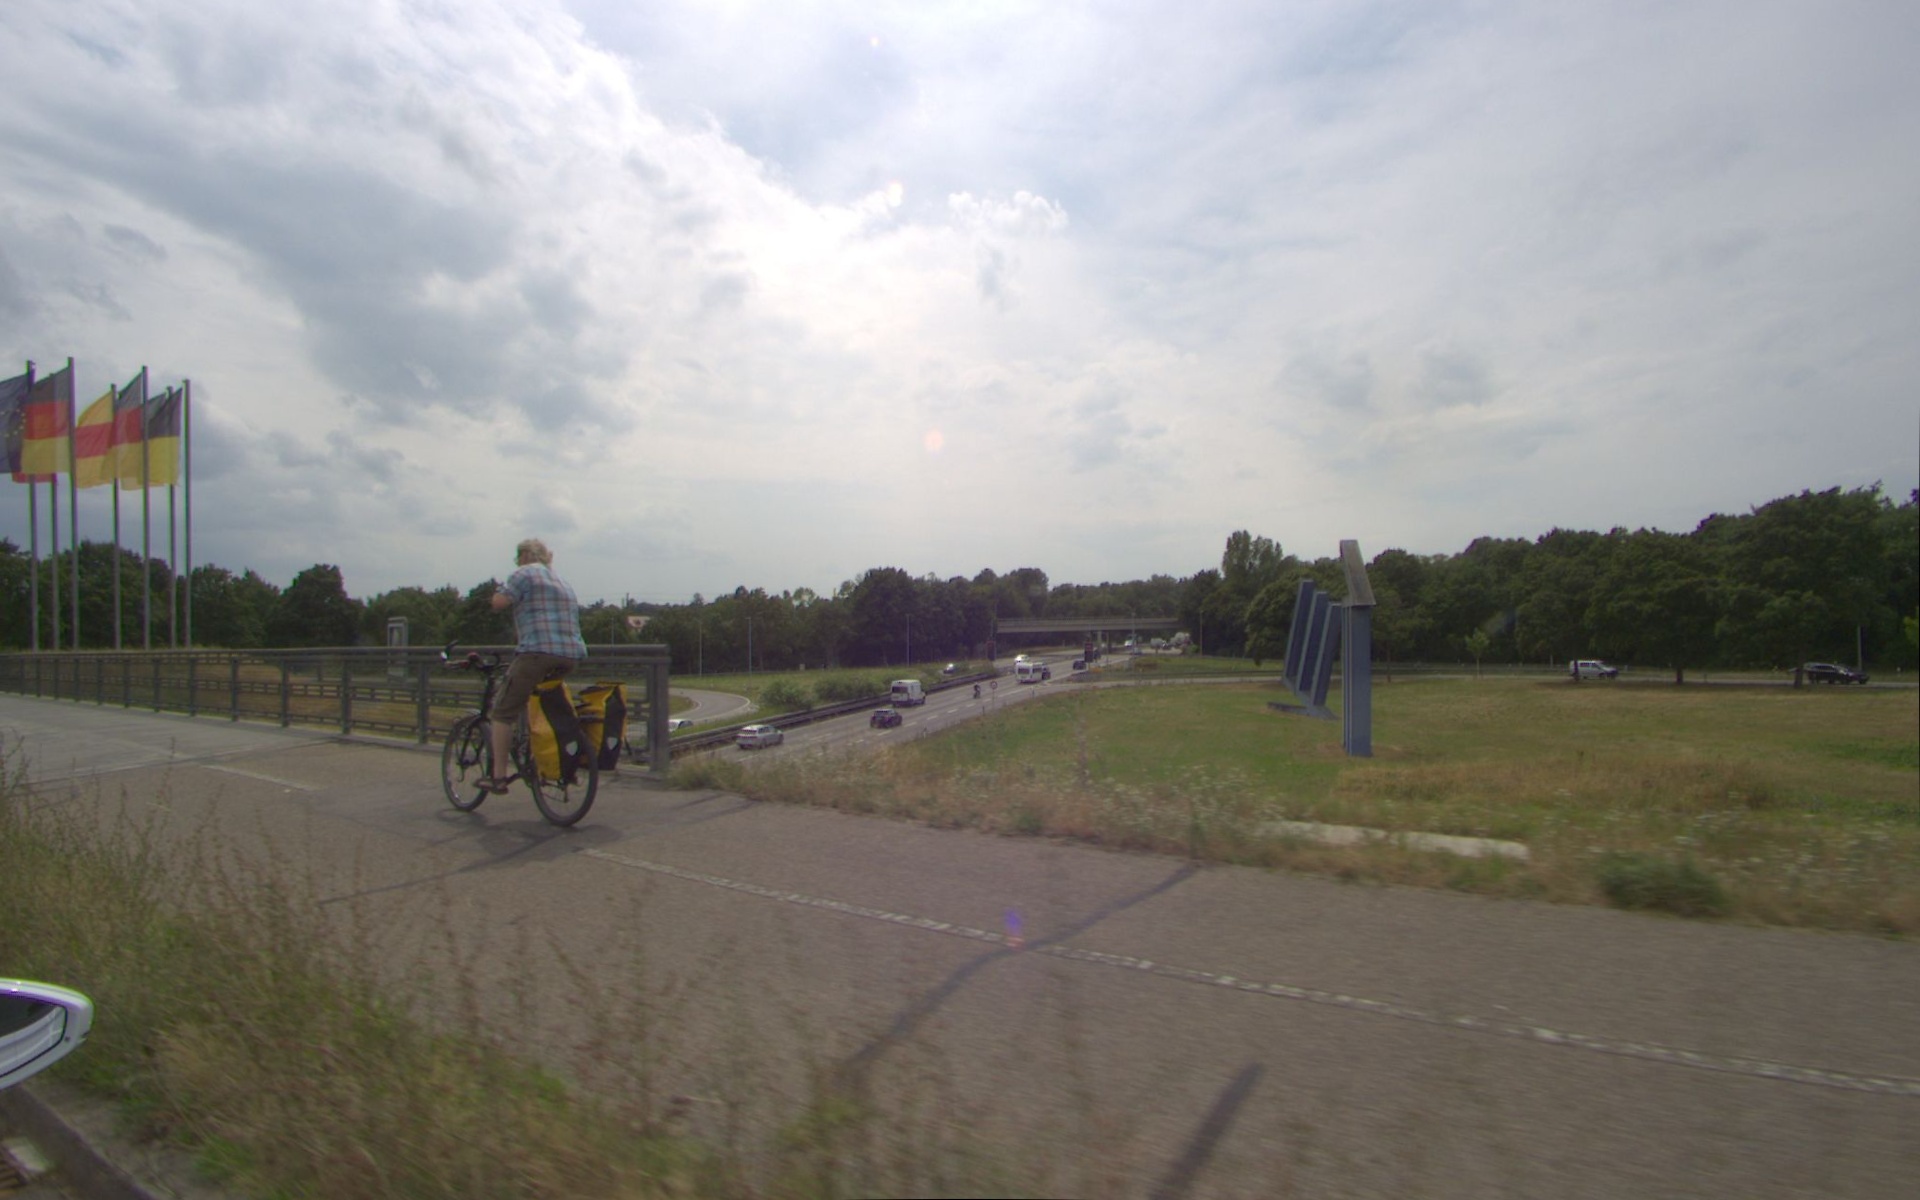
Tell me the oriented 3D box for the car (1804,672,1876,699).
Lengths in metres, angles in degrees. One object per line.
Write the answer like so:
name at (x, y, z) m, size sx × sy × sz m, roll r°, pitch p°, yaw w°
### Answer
car at (74.705, 7.260, 85.060) m, size 1.961 × 2.039 × 4.473 m, roll 0°, pitch -2°, yaw -4°

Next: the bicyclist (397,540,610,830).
bicyclist at (-3.123, 0.526, 6.883) m, size 0.943 × 1.826 × 0.868 m, roll -1°, pitch 3°, yaw 32°

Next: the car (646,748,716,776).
car at (-16.800, 9.764, 60.529) m, size 1.967 × 1.252 × 3.992 m, roll -1°, pitch -4°, yaw 25°

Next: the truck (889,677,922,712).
truck at (-5.382, 9.315, 98.948) m, size 1.963 × 3.189 × 4.378 m, roll -2°, pitch -2°, yaw 14°

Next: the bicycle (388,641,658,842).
bicycle at (-2.995, 0.885, 6.830) m, size 1.739 × 1.156 × 0.810 m, roll -1°, pitch 2°, yaw 32°

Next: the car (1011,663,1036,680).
car at (8.284, 9.283, 129.914) m, size 2.207 × 2.039 × 4.164 m, roll -1°, pitch -2°, yaw 19°

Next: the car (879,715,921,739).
car at (-4.969, 10.592, 83.787) m, size 1.966 × 1.605 × 3.991 m, roll -2°, pitch -2°, yaw 22°

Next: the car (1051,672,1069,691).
car at (14.520, 11.822, 144.883) m, size 1.964 × 2.565 × 3.996 m, roll -2°, pitch -2°, yaw 15°

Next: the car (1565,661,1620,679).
car at (69.361, 7.634, 109.898) m, size 1.969 × 1.825 × 4.885 m, roll 1°, pitch -2°, yaw -26°

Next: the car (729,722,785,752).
car at (-13.891, 9.373, 68.823) m, size 1.966 × 1.605 × 3.992 m, roll -2°, pitch -2°, yaw 20°
